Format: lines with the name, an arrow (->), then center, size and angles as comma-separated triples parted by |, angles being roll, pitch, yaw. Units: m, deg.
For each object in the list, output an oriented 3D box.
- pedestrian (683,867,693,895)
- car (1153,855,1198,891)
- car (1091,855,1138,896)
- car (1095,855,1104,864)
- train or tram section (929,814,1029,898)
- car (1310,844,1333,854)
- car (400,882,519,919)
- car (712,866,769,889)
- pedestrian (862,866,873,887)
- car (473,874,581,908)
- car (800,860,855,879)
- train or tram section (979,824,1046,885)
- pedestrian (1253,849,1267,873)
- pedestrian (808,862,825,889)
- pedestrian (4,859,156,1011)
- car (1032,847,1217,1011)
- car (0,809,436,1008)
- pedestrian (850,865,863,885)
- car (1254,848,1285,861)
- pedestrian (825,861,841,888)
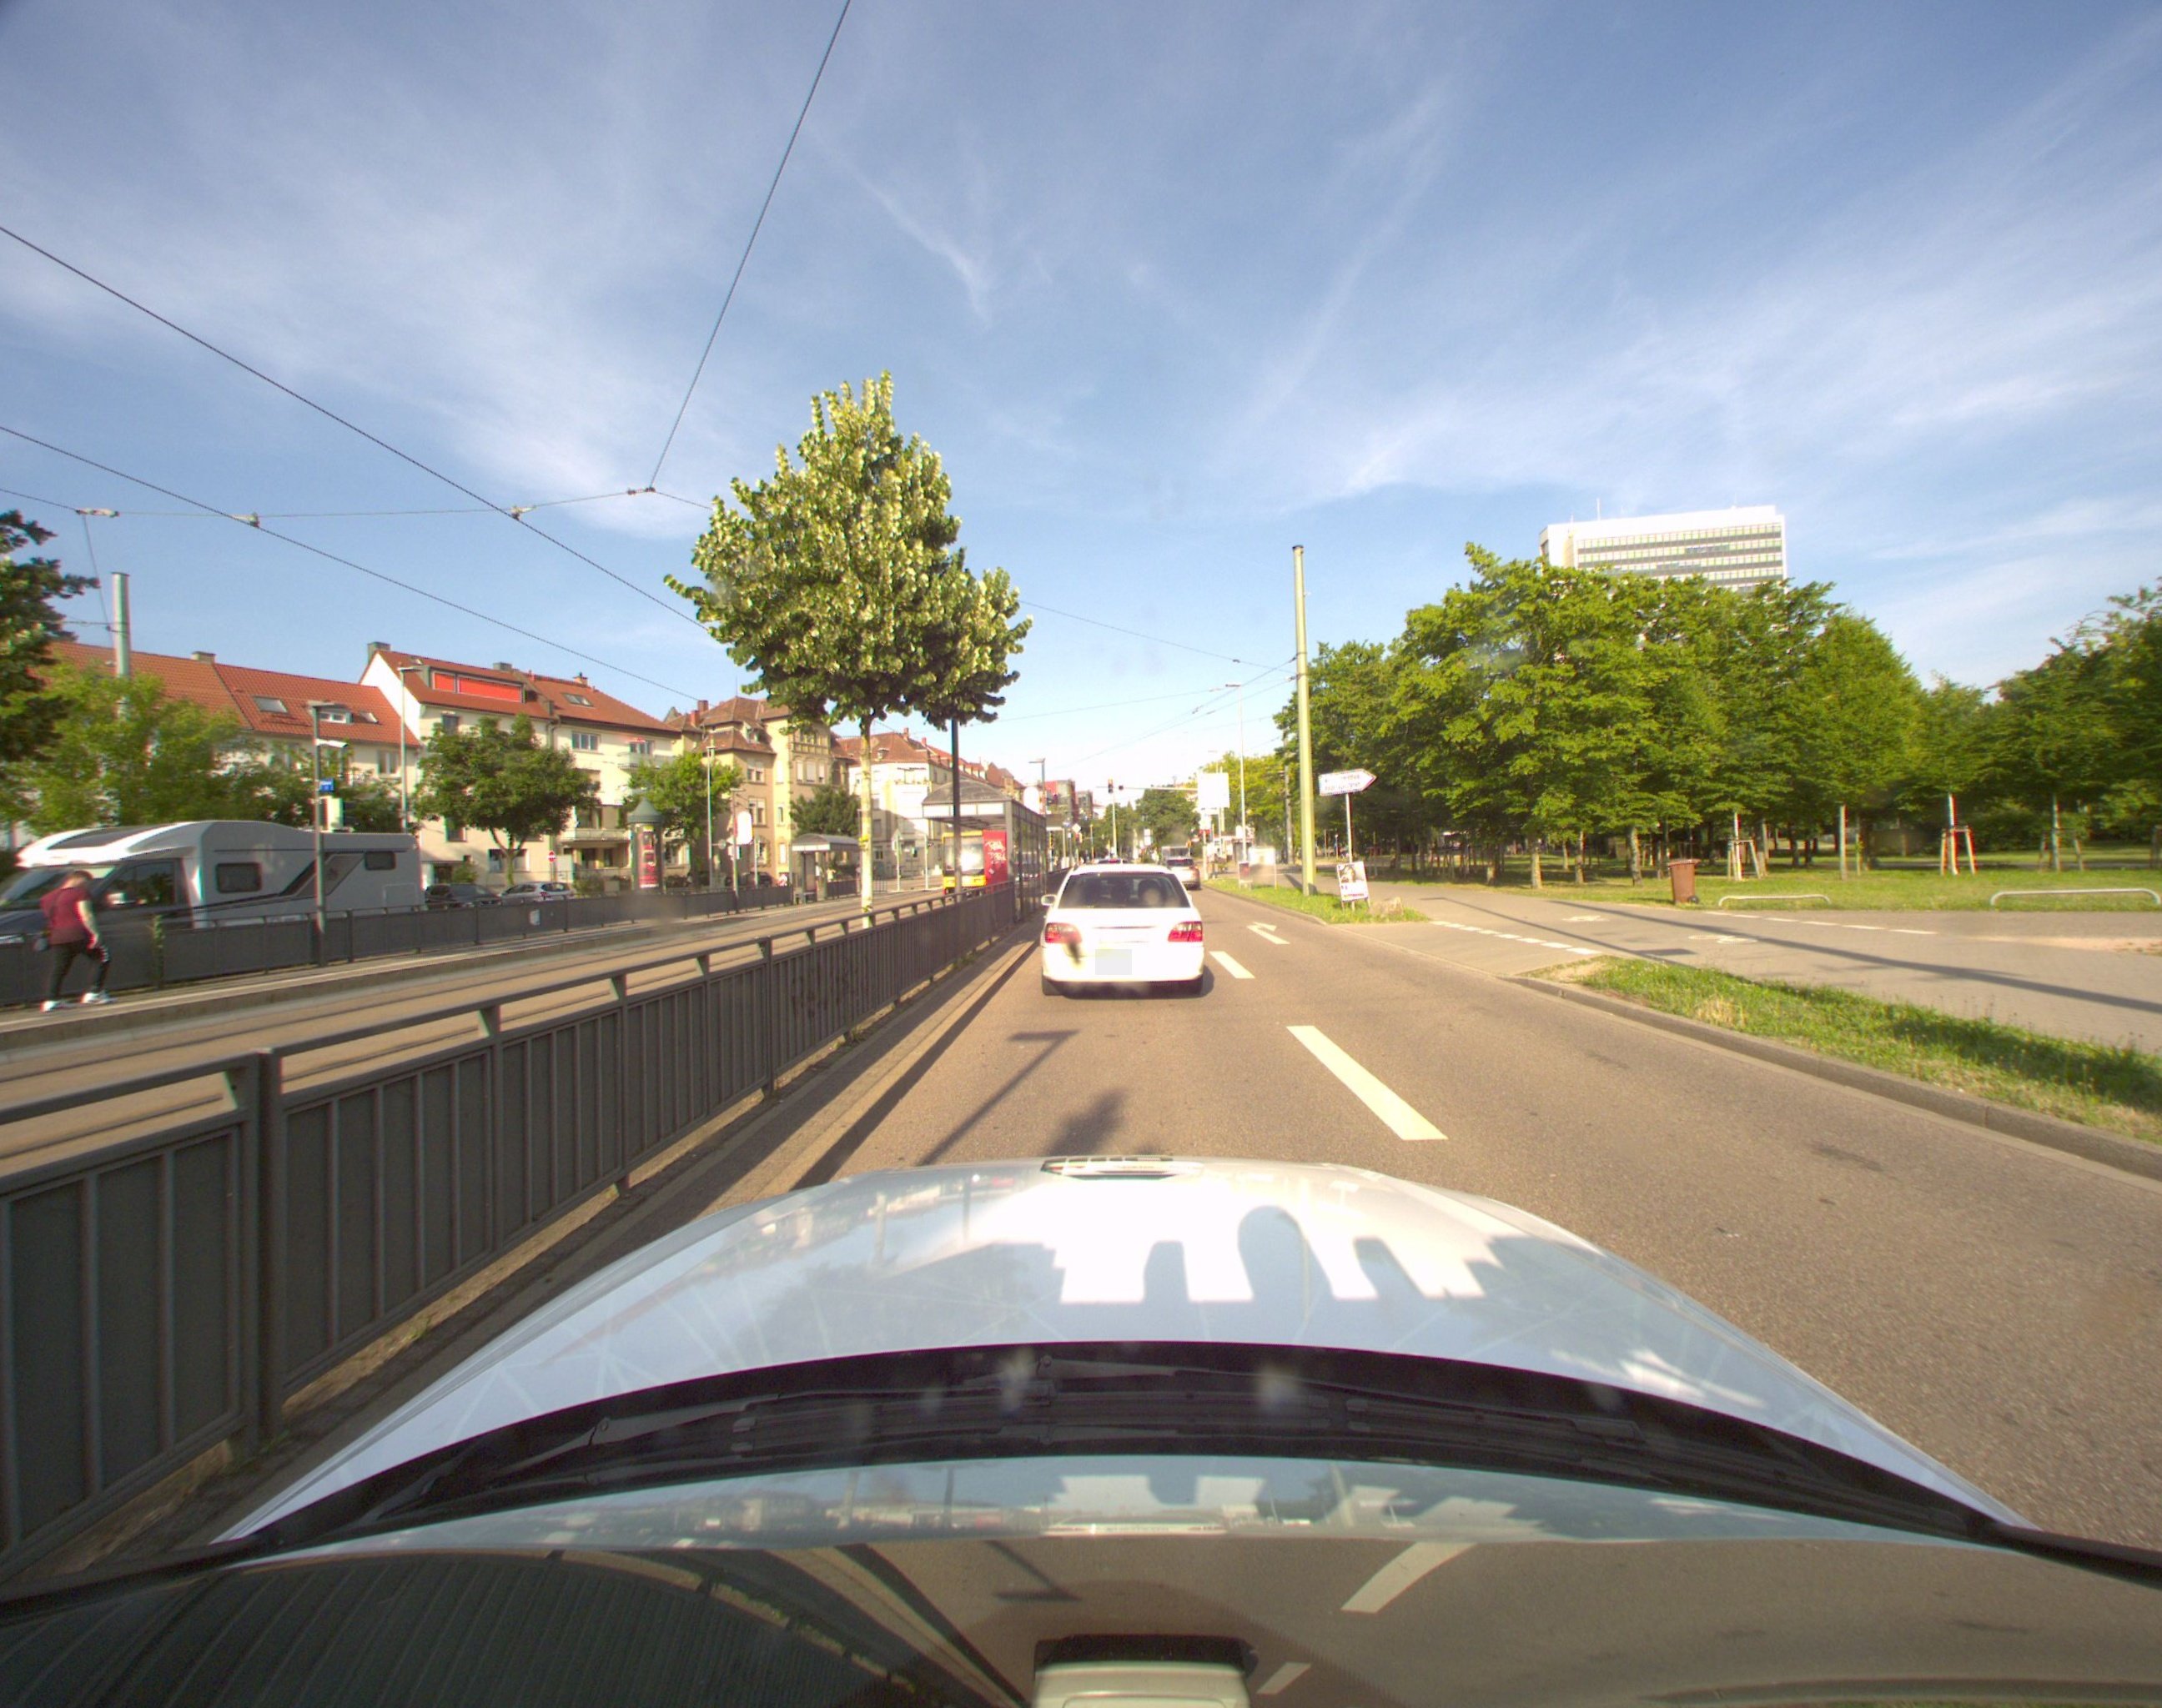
pedestrian -> -28.697, 1.959, 59.468 | 0.379, 2.013, 0.410 | -1, 0, 21
car -> 4.578, 0.889, 39.533 | 2.023, 1.605, 4.007 | -1, 0, 6
car -> 1.579, 0.930, 36.594 | 1.778, 1.690, 4.007 | -1, 0, 6
car -> 4.187, 1.211, 186.946 | 1.986, 2.013, 4.001 | -2, 0, 2
train or tram section -> -4.736, 0.045, 40.958 | 2.838, 3.479, 13.206 | -1, 0, 2
car -> 44.621, -0.982, 151.276 | 3.956, 1.651, 2.009 | -3, 0, 16
car -> -26.344, 1.970, 34.562 | 3.956, 1.398, 2.009 | -1, 0, 16
car -> -28.092, 1.965, 67.286 | 3.954, 1.750, 2.010 | -1, 0, 19
pedestrian -> -18.012, 1.879, 68.681 | 0.662, 1.753, 0.747 | -1, 0, 6
car -> -25.252, 1.661, 37.162 | 3.956, 1.398, 2.009 | -1, 0, 16
car -> -23.564, 1.417, 75.912 | 2.183, 1.628, 4.744 | -1, 0, 25
train or tram section -> -4.269, -0.008, 53.976 | 2.839, 3.479, 13.205 | -1, 0, 2
pedestrian -> 12.529, 0.458, 56.987 | 0.881, 1.652, 0.748 | -1, 0, 10
pedestrian -> -17.492, 1.416, 53.907 | 0.886, 1.753, 0.743 | -1, 0, -9
pedestrian -> -12.148, 0.949, 9.912 | 0.832, 1.733, 0.773 | -2, 0, 2
car -> 0.424, 0.723, 10.041 | 1.753, 1.503, 3.999 | -3, 1, 0
car -> -15.982, 0.767, 14.619 | 2.586, 2.735, 7.472 | -1, 0, 2
pedestrian -> -20.359, 1.864, 73.812 | 0.882, 1.753, 0.747 | -1, 0, 6
car -> 27.487, 0.082, 118.616 | 3.949, 1.651, 2.012 | -3, -1, 27
pedestrian -> -16.450, 1.378, 54.087 | 0.886, 1.753, 0.743 | -1, 0, -9
